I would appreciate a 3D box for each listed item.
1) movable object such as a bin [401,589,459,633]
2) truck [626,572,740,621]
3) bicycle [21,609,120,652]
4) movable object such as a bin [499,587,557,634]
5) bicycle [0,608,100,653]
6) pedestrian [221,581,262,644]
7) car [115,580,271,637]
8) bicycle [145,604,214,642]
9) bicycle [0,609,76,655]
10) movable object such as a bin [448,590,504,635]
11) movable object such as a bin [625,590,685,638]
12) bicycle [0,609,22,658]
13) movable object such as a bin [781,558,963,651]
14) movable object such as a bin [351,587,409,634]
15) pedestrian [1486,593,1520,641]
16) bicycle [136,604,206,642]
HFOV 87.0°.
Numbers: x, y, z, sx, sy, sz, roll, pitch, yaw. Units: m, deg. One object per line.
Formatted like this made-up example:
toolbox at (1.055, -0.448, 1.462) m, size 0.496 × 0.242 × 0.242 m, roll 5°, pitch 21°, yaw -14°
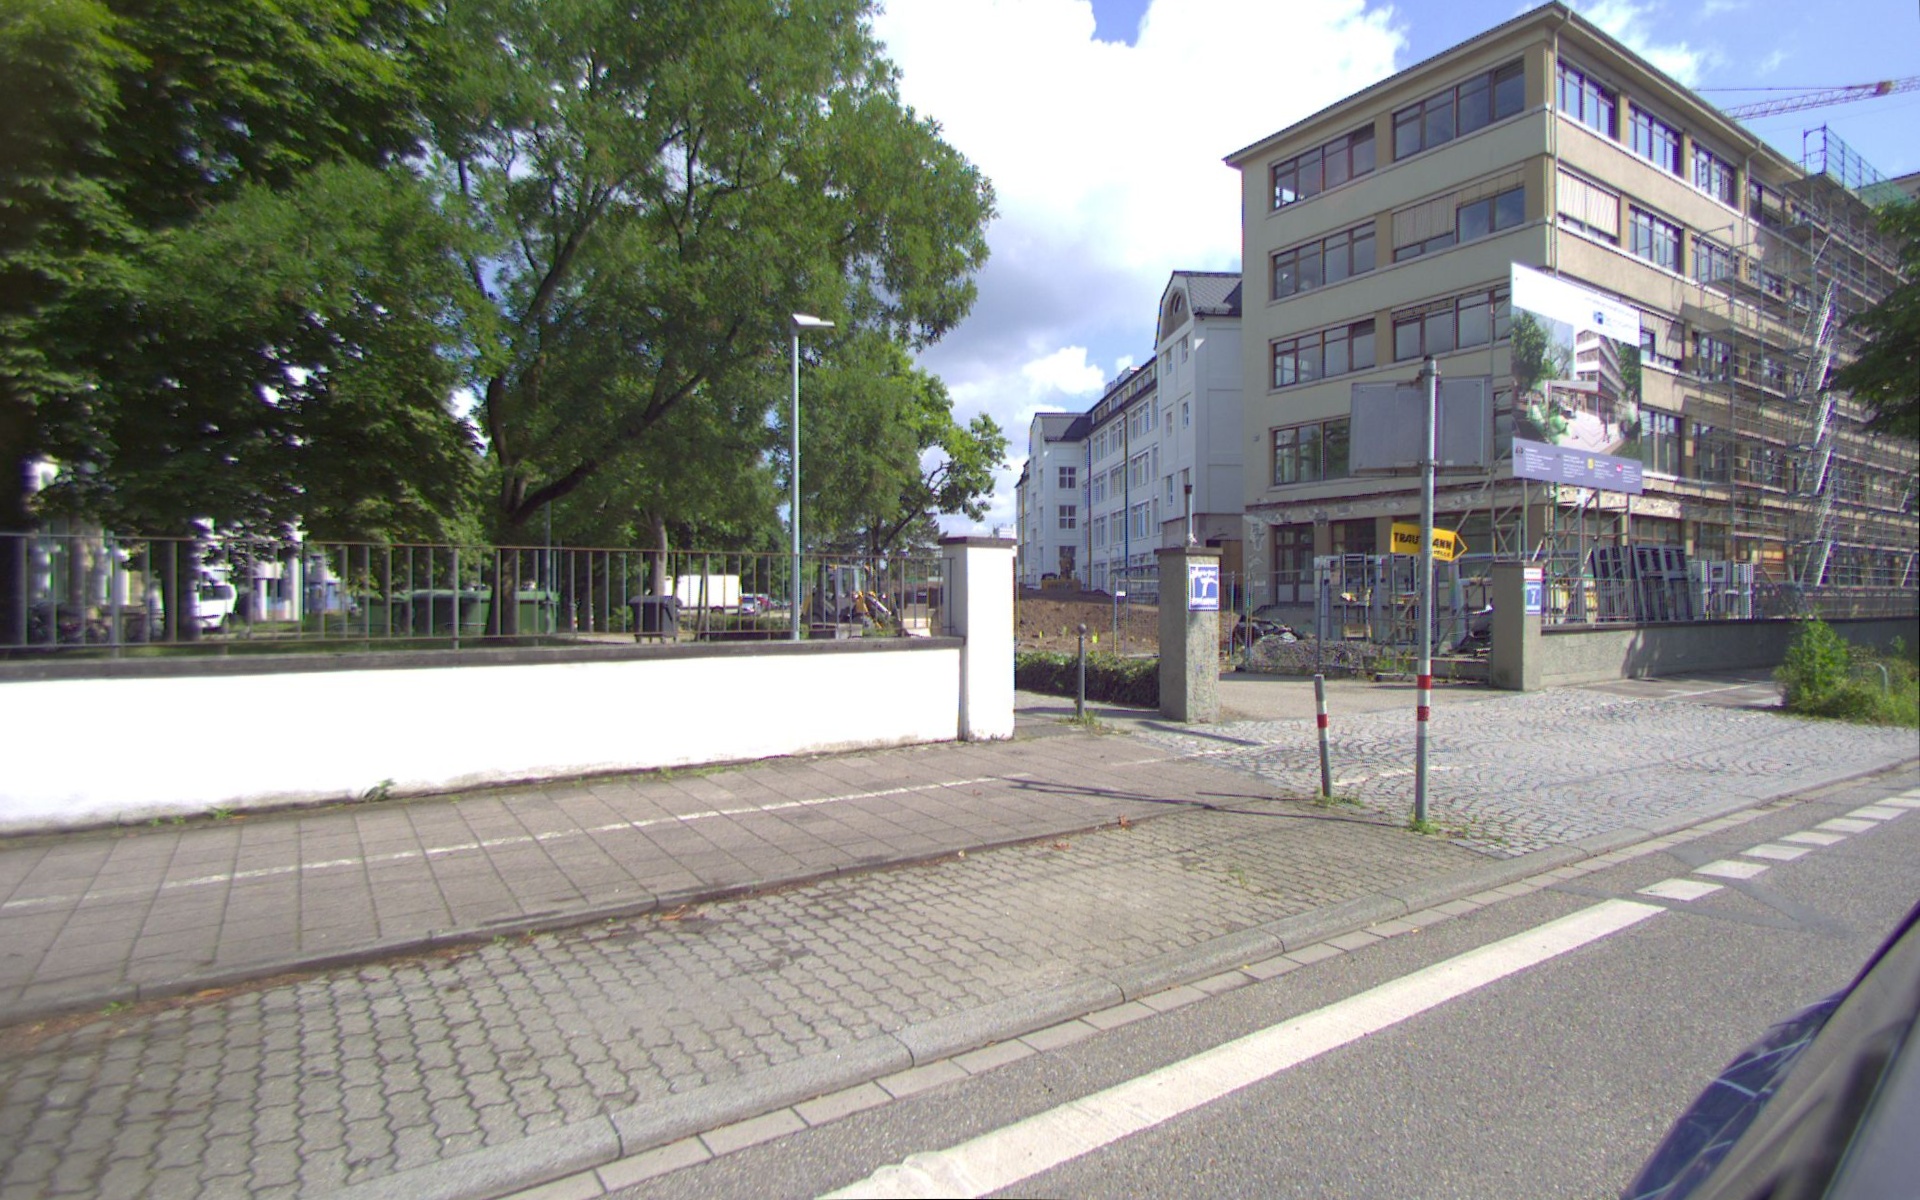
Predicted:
movable object such as a bin at (-15.486, 0.312, 29.601) m, size 1.247 × 1.235 × 1.030 m, roll 1°, pitch 0°, yaw -9°
truck at (-16.508, -0.241, 60.354) m, size 6.420 × 2.812 × 2.004 m, roll 0°, pitch 1°, yaw -20°
bicycle at (-20.794, 0.712, 23.683) m, size 1.783 × 1.000 × 0.427 m, roll 1°, pitch -2°, yaw -7°
movable object such as a bin at (-12.734, 0.307, 29.881) m, size 1.338 × 1.369 × 1.096 m, roll 1°, pitch 0°, yaw -9°
bicycle at (-20.672, 0.699, 22.969) m, size 1.783 × 1.000 × 0.427 m, roll 1°, pitch -2°, yaw -7°
pedestrian at (-18.909, 0.318, 26.644) m, size 0.558 × 1.644 × 0.859 m, roll 0°, pitch 0°, yaw -10°
car at (-28.462, 0.286, 37.799) m, size 2.000 × 1.886 × 5.094 m, roll 3°, pitch 0°, yaw -2°
bicycle at (-20.991, 0.613, 27.221) m, size 1.428 × 1.000 × 0.427 m, roll 1°, pitch -2°, yaw -7°
bicycle at (-20.500, 0.695, 22.146) m, size 1.783 × 1.000 × 0.427 m, roll 1°, pitch -2°, yaw -7°
movable object such as a bin at (-14.167, 0.354, 29.665) m, size 1.230 × 1.281 × 1.001 m, roll 1°, pitch 0°, yaw -9°
movable object such as a bin at (-8.978, 0.387, 29.851) m, size 1.304 × 1.374 × 1.126 m, roll 1°, pitch 0°, yaw 13°
bicycle at (-20.423, 0.686, 20.773) m, size 1.783 × 1.000 × 0.427 m, roll 1°, pitch -2°, yaw -7°
movable object such as a bin at (-2.679, 0.075, 29.871) m, size 5.404 × 2.475 × 1.972 m, roll 2°, pitch 0°, yaw 38°
movable object such as a bin at (-16.850, 0.296, 29.440) m, size 1.166 × 1.309 × 1.005 m, roll 1°, pitch 0°, yaw -9°
pedestrian at (15.269, 0.476, 28.482) m, size 0.453 × 1.329 × 0.636 m, roll -3°, pitch -1°, yaw -17°
bicycle at (-20.775, 0.609, 26.663) m, size 1.429 × 1.000 × 0.427 m, roll 1°, pitch -2°, yaw -6°
